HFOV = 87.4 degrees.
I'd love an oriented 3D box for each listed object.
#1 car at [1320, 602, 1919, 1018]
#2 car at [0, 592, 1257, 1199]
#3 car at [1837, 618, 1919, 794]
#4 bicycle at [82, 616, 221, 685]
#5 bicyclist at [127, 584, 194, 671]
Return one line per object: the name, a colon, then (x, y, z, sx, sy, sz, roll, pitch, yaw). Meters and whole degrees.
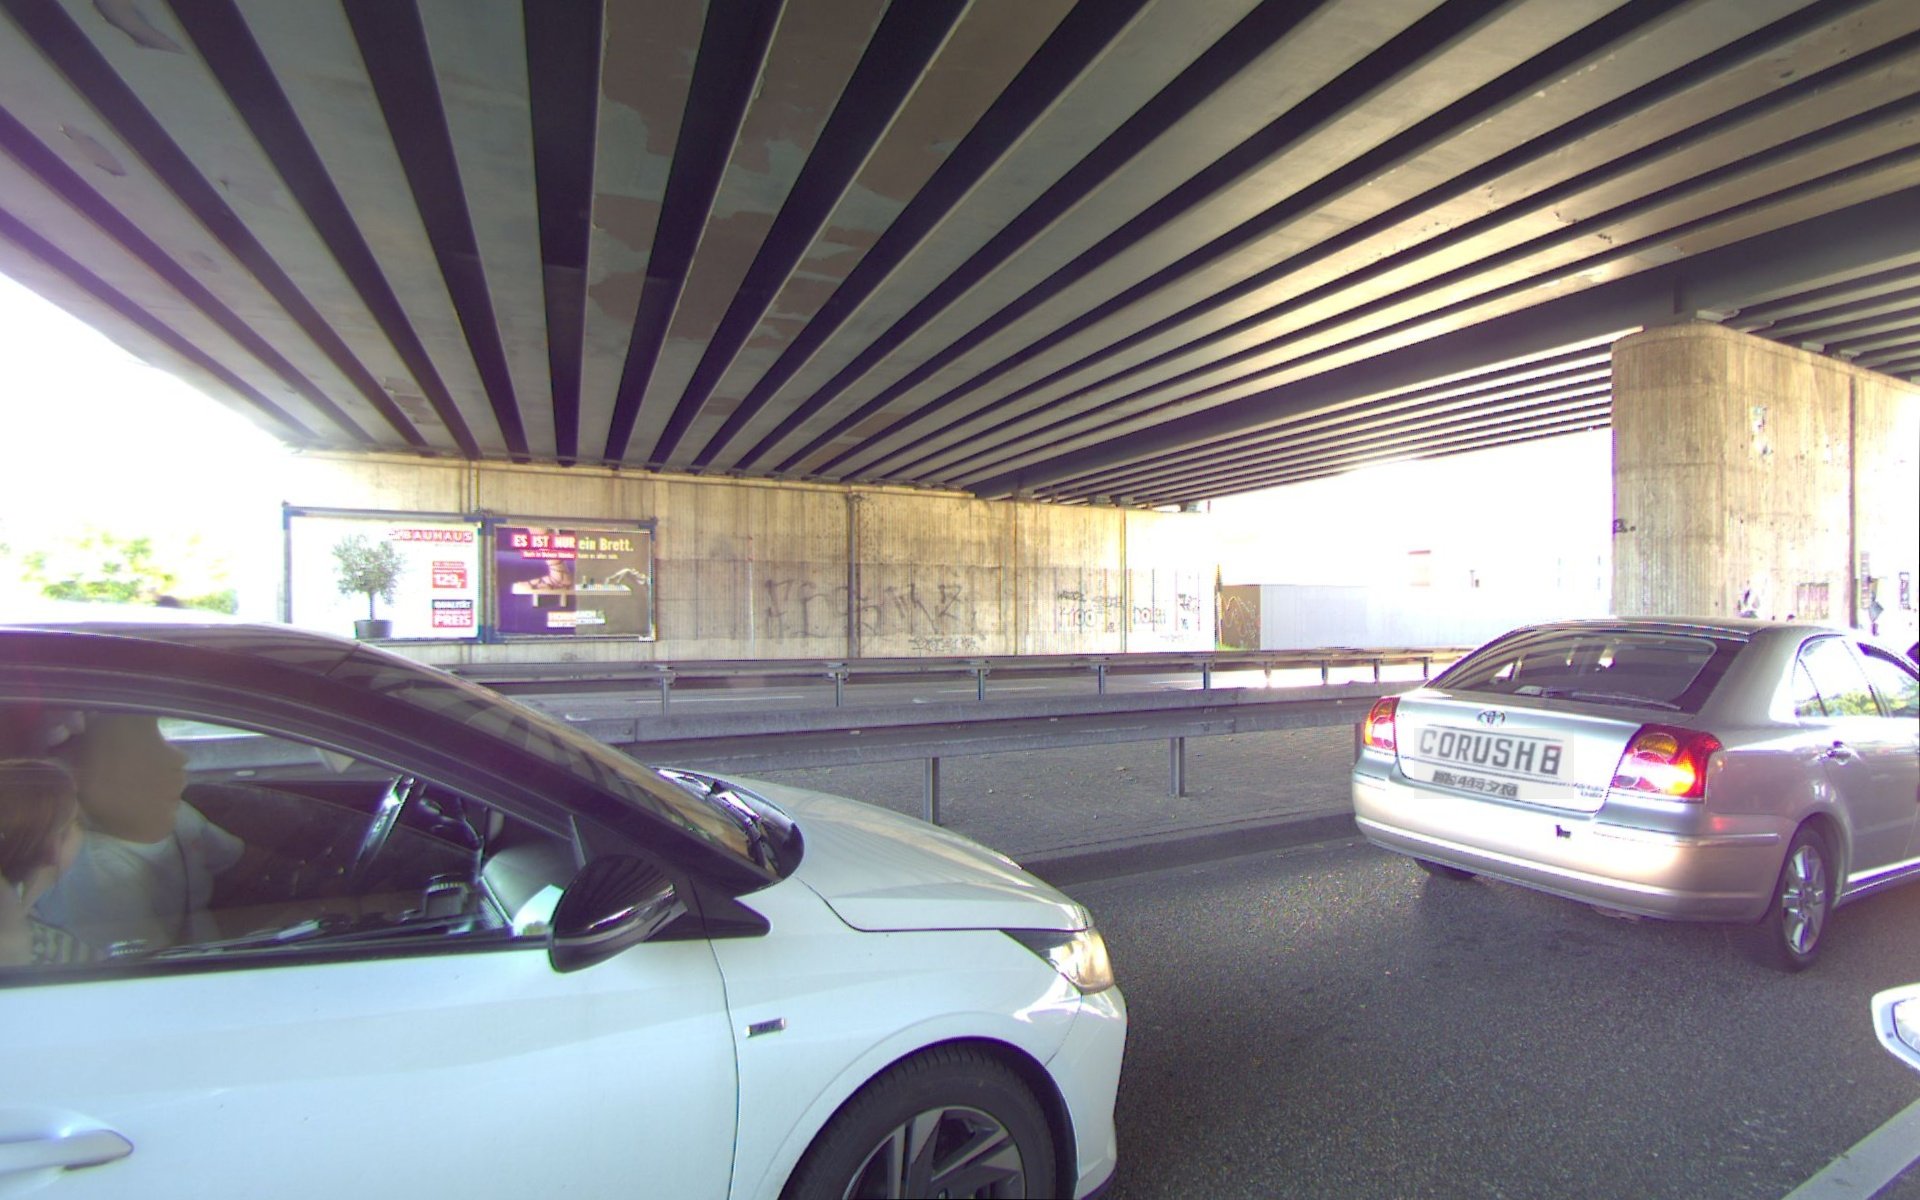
car: (4.112, 0.796, 5.465, 4.347, 1.474, 1.688, 1, 0, -31)
car: (-1.426, 0.713, 1.977, 3.827, 1.422, 1.723, 2, 0, -31)
car: (9.611, 0.907, 8.880, 3.768, 1.429, 1.684, 1, 0, -30)
bicycle: (-14.593, 0.912, 18.195, 1.856, 1.181, 0.631, 2, 0, -30)
bicyclist: (-14.501, 0.491, 18.240, 0.827, 1.545, 0.624, 2, 0, -30)
